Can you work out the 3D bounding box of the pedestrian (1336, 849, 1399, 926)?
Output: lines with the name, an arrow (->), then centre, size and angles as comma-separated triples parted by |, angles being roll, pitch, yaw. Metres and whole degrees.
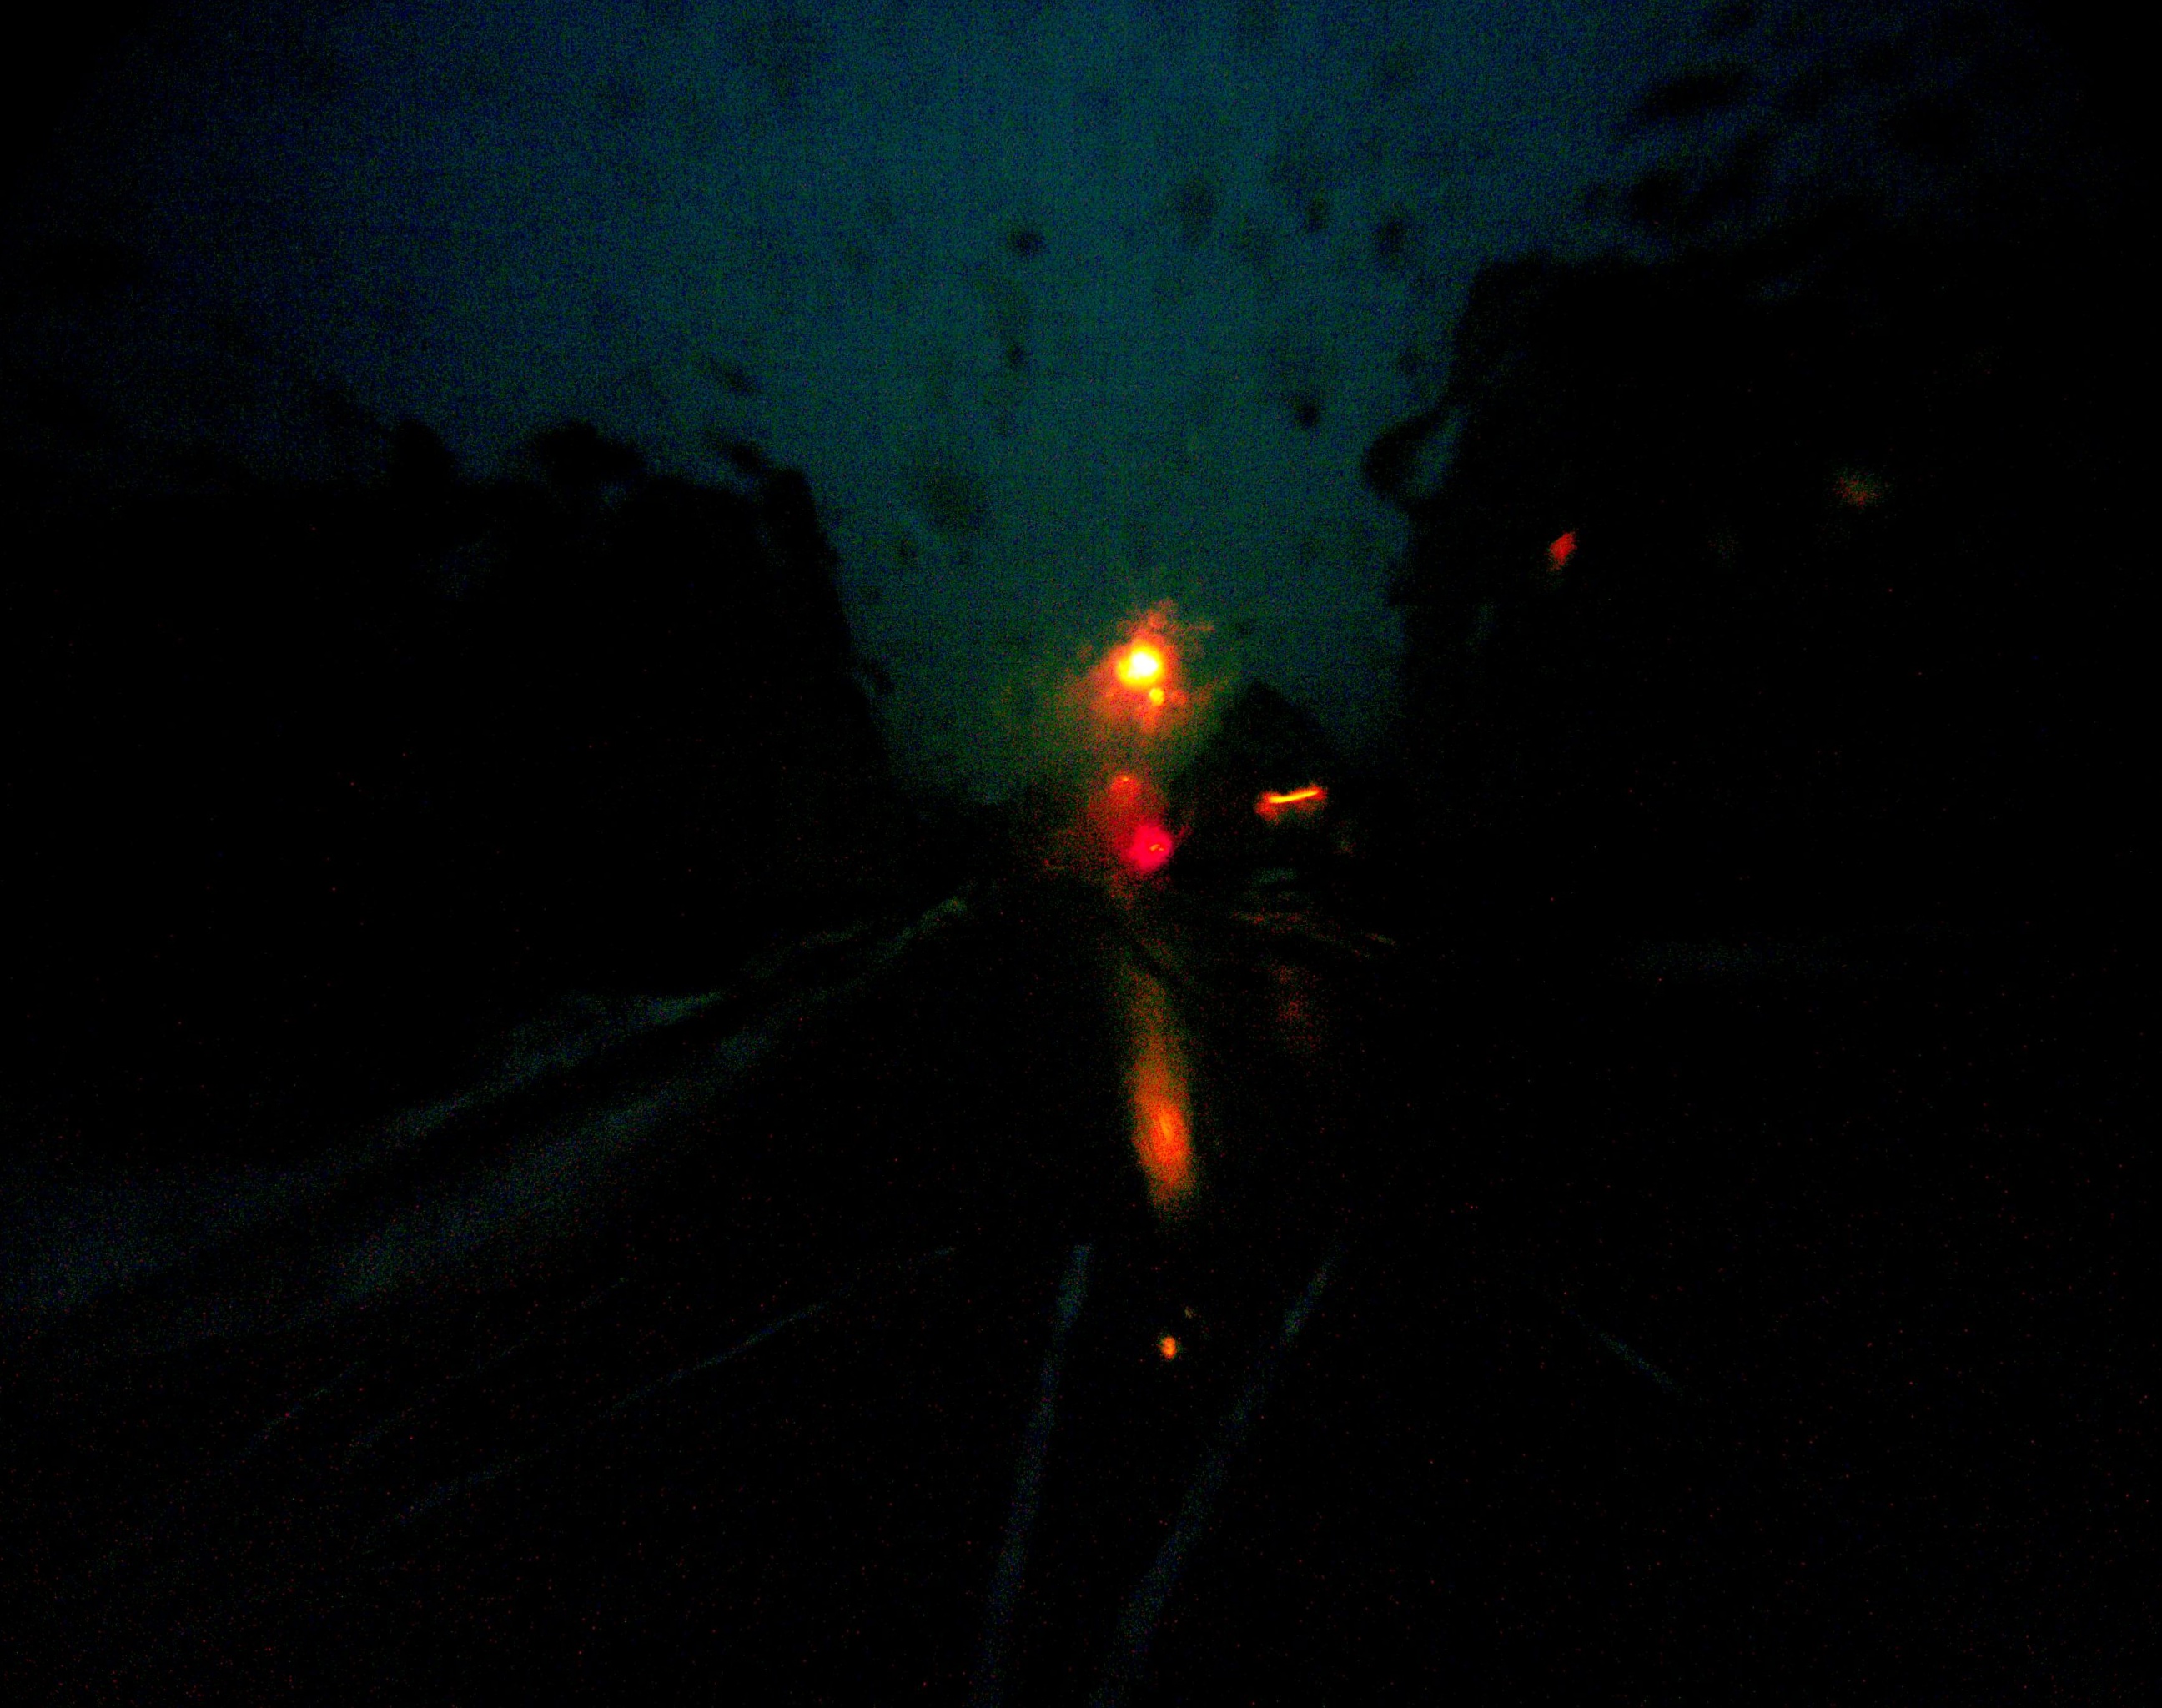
pedestrian -> 5.195, 0.596, 13.802 | 0.810, 1.321, 0.660 | -4, 1, -2
